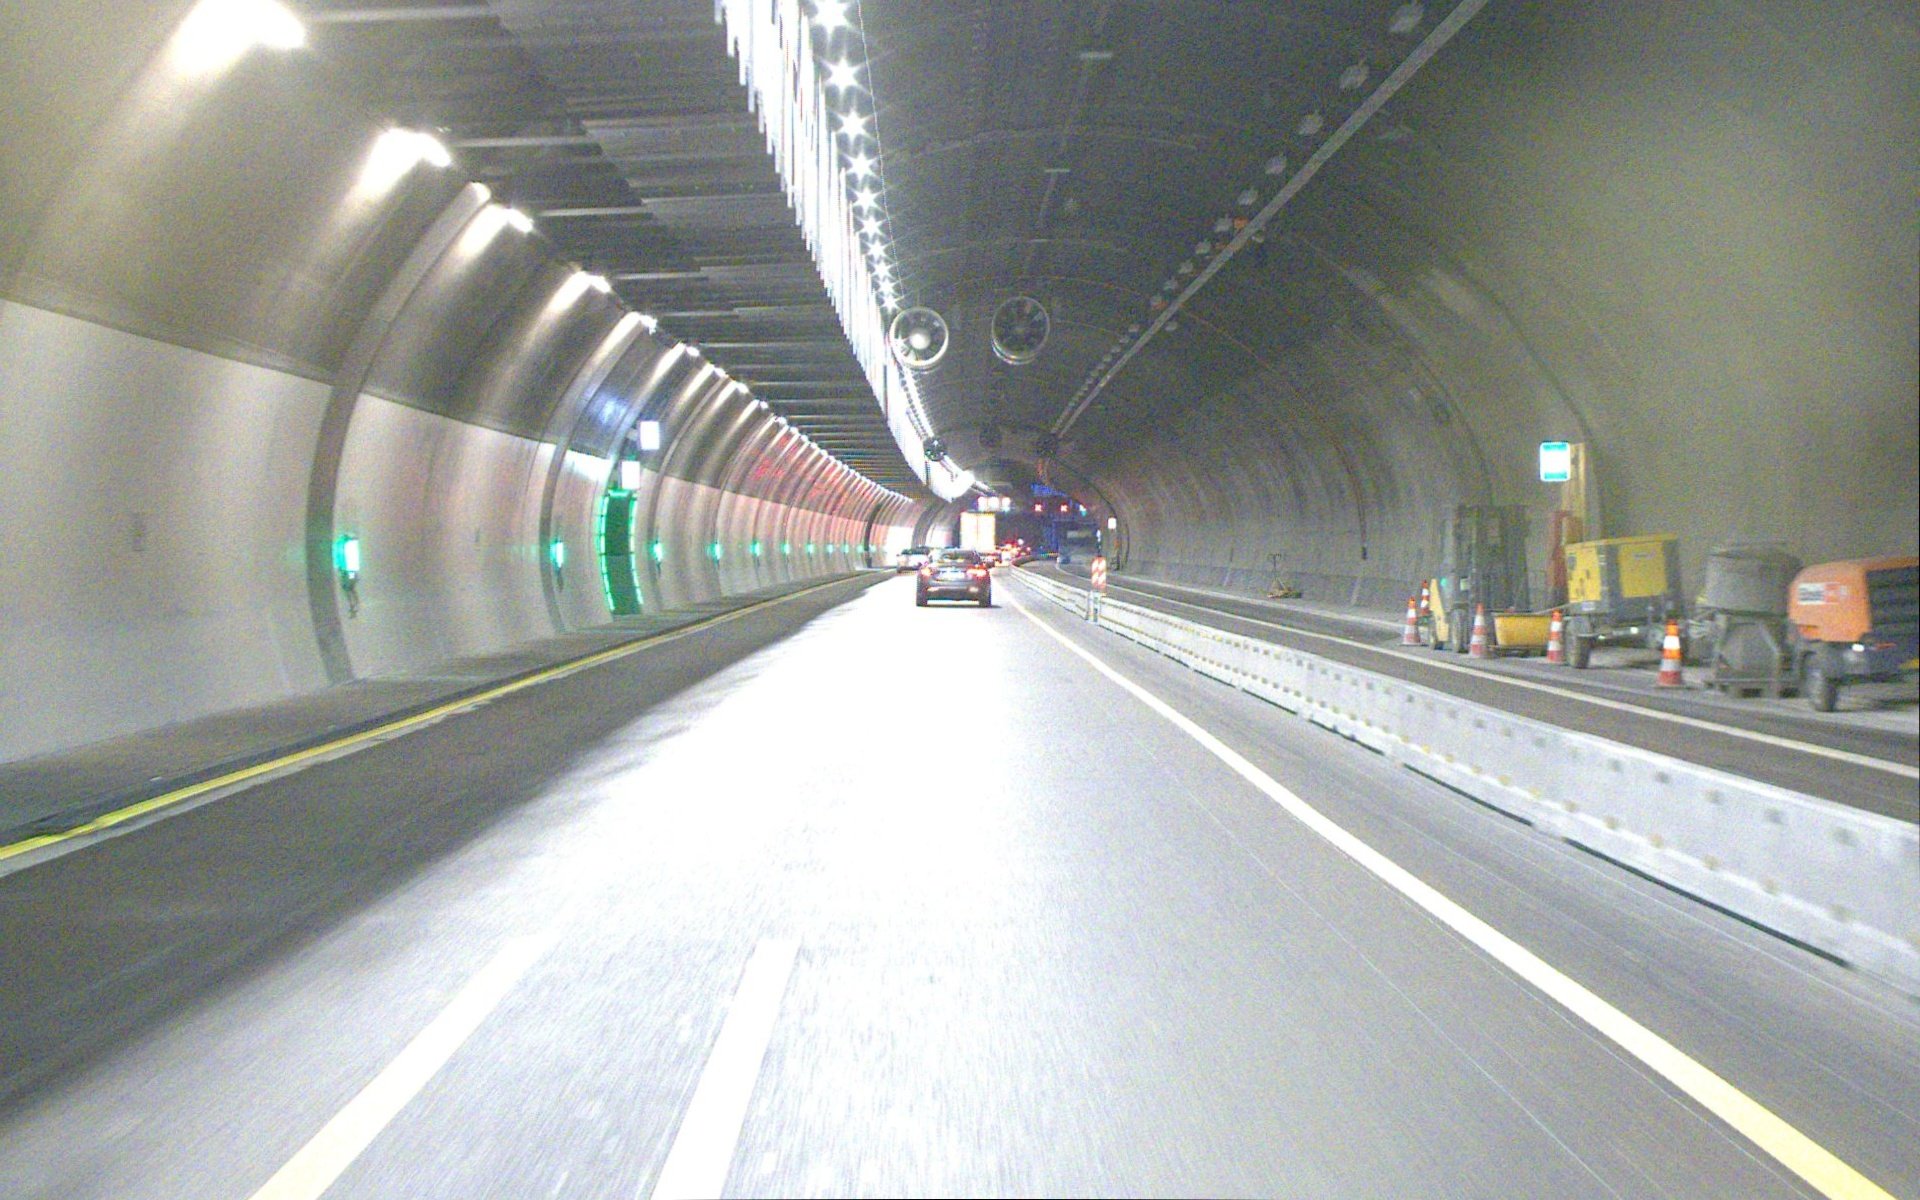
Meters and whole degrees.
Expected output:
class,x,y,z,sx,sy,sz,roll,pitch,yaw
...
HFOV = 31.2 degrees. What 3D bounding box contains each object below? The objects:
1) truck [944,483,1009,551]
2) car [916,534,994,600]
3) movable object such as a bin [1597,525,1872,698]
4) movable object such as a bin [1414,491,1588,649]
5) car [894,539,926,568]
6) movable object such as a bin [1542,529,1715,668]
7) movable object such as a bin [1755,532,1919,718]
class,x,y,z,sx,sy,sz,roll,pitch,yaw
truck,1.292,-6.283,261.002,4.546,4.970,9.598,1,1,2
car,-0.141,-0.824,86.768,1.887,1.601,4.000,1,1,-1
movable object such as a bin,8.395,0.071,37.641,1.860,1.669,4.502,-3,1,-1
movable object such as a bin,7.699,-0.433,49.264,1.683,2.138,4.628,1,1,-1
car,-2.869,-2.683,198.161,1.827,1.601,4.000,1,1,-1
movable object such as a bin,8.501,-0.034,43.929,1.556,1.703,3.055,1,1,-1
movable object such as a bin,8.573,0.193,32.504,1.303,1.588,3.055,-3,1,-1
